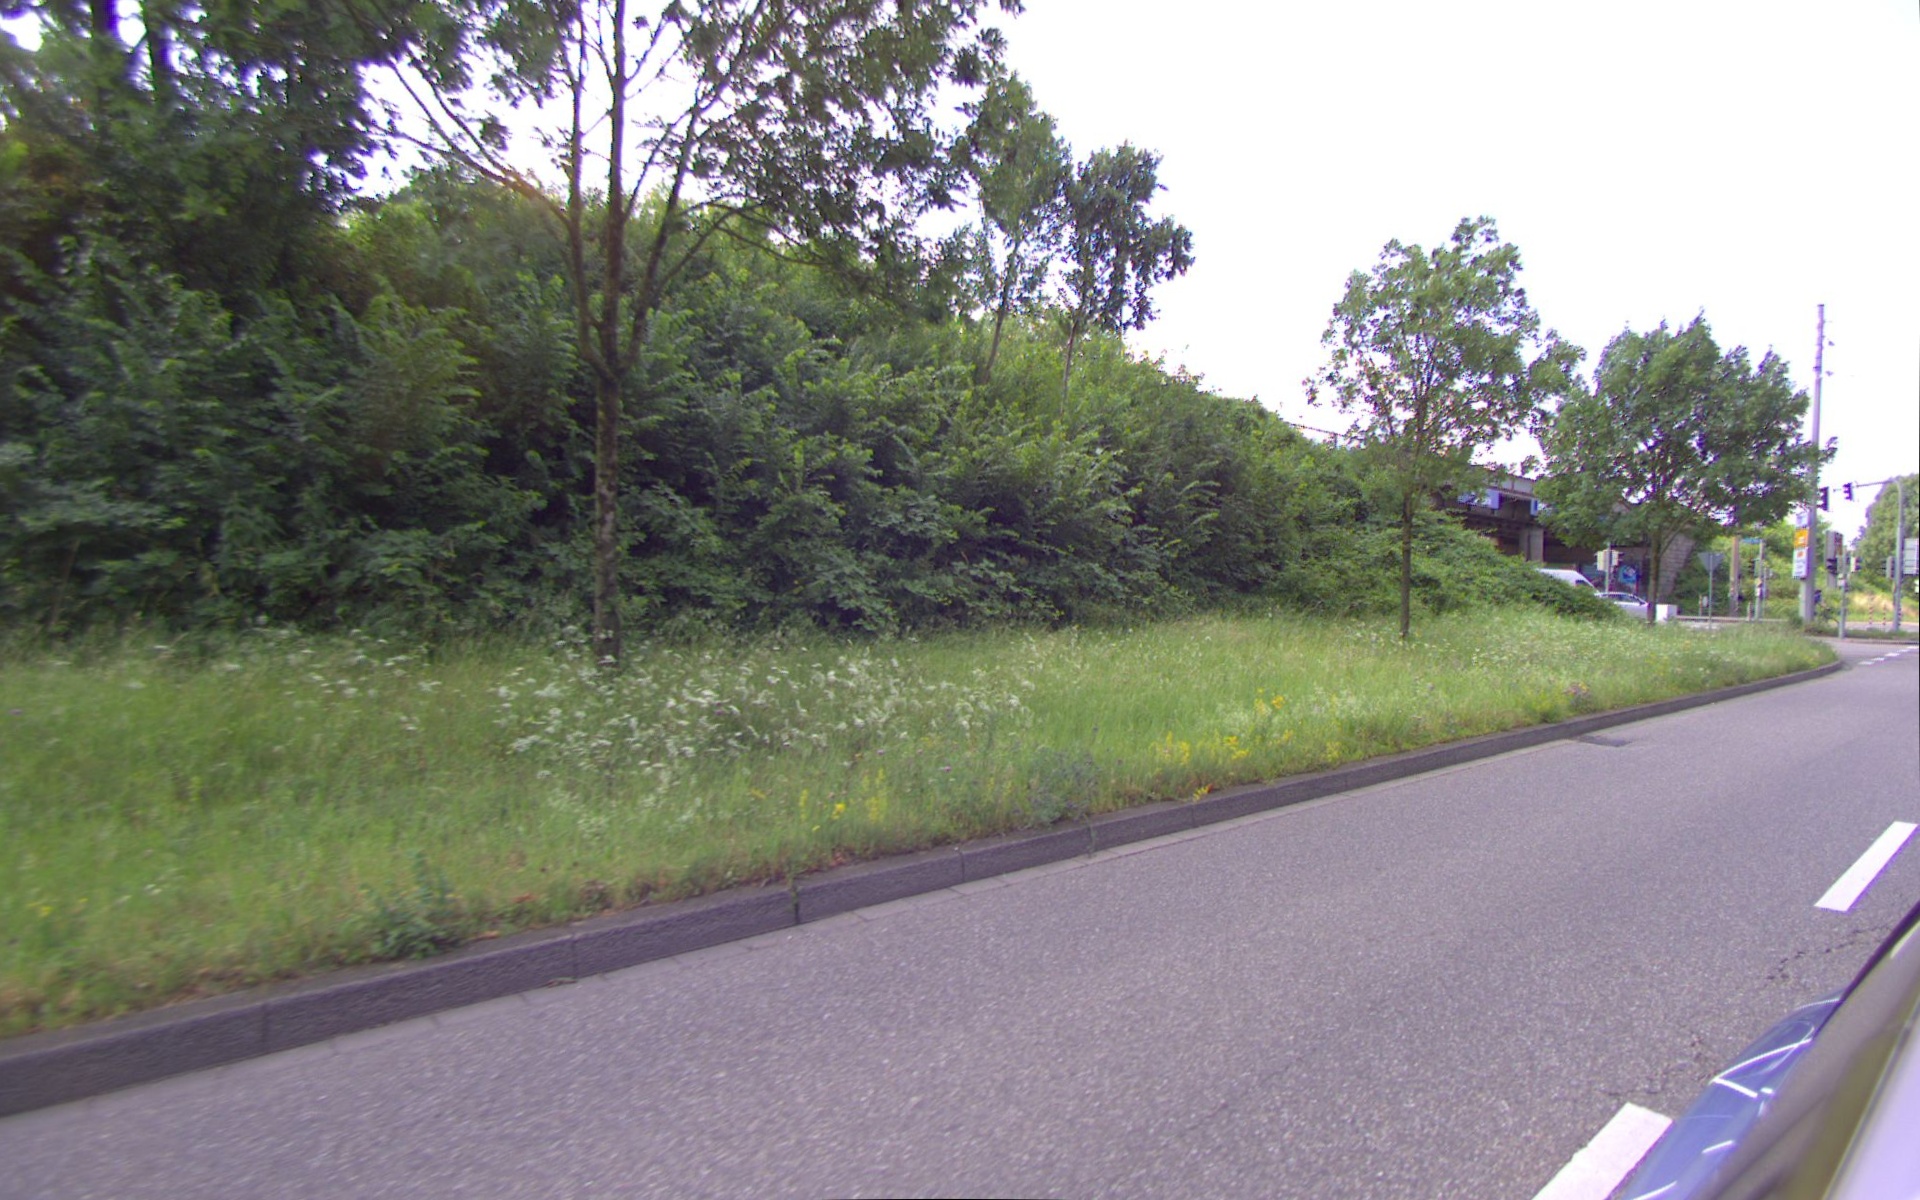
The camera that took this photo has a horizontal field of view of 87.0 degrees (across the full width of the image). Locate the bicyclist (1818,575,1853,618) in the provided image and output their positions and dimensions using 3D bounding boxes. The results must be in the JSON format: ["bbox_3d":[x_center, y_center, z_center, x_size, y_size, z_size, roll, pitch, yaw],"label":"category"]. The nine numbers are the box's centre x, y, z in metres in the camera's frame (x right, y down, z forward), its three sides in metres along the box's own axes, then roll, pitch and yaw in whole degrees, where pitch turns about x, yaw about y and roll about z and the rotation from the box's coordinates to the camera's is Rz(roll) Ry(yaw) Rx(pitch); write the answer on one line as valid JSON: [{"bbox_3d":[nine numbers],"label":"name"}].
[{"bbox_3d":[35.773,-0.149,41.369,0.814,1.698,0.840,-1,4,22],"label":"bicyclist"}]

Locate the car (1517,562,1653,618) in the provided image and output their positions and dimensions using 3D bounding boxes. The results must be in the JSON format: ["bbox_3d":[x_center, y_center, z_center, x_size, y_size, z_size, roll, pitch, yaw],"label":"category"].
[{"bbox_3d":[32.142,-0.515,52.245,5.546,2.555,2.257,-1,5,16],"label":"car"}]

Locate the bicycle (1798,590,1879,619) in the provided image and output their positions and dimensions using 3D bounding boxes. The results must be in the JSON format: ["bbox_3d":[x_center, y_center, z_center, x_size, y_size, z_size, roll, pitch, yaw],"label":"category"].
[{"bbox_3d":[35.852,0.166,41.340,2.291,1.106,0.840,0,4,22],"label":"bicycle"}]

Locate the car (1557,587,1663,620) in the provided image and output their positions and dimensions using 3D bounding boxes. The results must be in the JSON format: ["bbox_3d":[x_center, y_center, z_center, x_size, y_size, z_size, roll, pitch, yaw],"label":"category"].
[{"bbox_3d":[31.365,0.171,48.914,3.940,1.495,1.702,0,1,13],"label":"car"}]

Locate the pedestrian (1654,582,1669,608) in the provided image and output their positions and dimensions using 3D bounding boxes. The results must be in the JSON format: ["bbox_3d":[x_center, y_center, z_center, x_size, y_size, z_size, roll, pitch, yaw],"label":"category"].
[{"bbox_3d":[48.058,-0.352,69.335,0.678,1.671,0.610,-3,3,-30],"label":"pedestrian"}]
